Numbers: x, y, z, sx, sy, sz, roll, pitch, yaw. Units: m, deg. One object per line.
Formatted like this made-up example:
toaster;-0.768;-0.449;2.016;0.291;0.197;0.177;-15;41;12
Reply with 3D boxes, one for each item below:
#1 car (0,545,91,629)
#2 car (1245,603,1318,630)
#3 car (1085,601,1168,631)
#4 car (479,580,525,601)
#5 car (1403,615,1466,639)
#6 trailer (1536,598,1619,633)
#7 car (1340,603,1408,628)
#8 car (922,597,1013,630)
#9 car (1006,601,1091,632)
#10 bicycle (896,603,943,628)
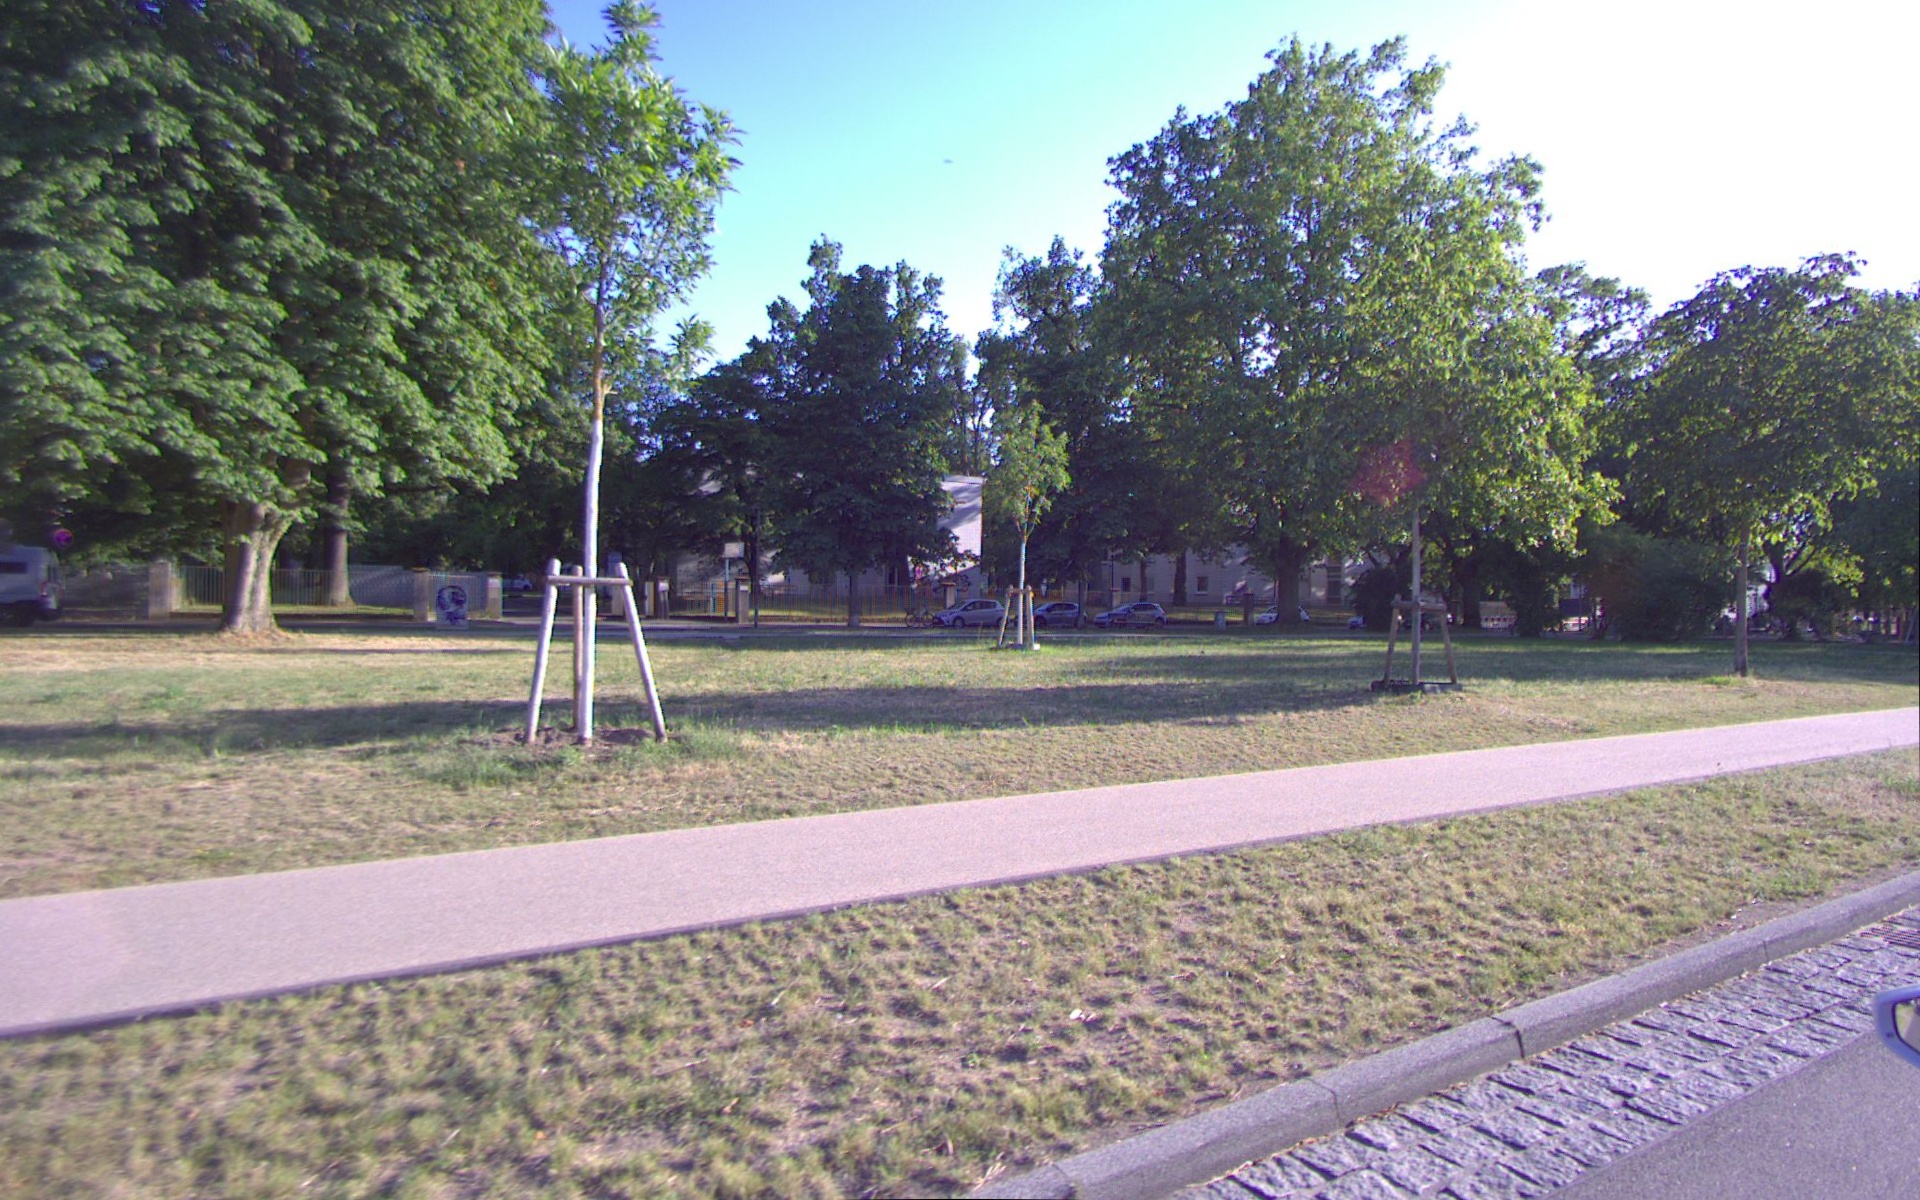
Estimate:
car;-30.481;-0.426;30.130;6.249;2.496;2.706;2;-1;-32
car;19.240;0.981;60.150;4.067;1.528;1.984;2;-1;-30
car;8.964;0.869;54.011;4.067;1.528;1.984;2;-1;-30
car;-47.535;-0.979;104.369;1.602;2.085;4.242;1;-1;30
car;32.304;1.826;68.362;4.067;1.528;1.984;2;-1;-30
trailer;47.557;1.224;77.294;6.967;2.522;2.447;2;-1;-30
car;26.594;1.012;64.557;4.067;1.528;1.984;2;-1;-30
car;0.369;0.648;48.938;3.953;1.528;1.984;2;-1;-30
car;4.528;0.846;51.405;3.953;1.528;1.984;2;-1;-30
bicycle;-1.974;0.789;49.506;2.309;1.191;0.653;2;-1;-34
